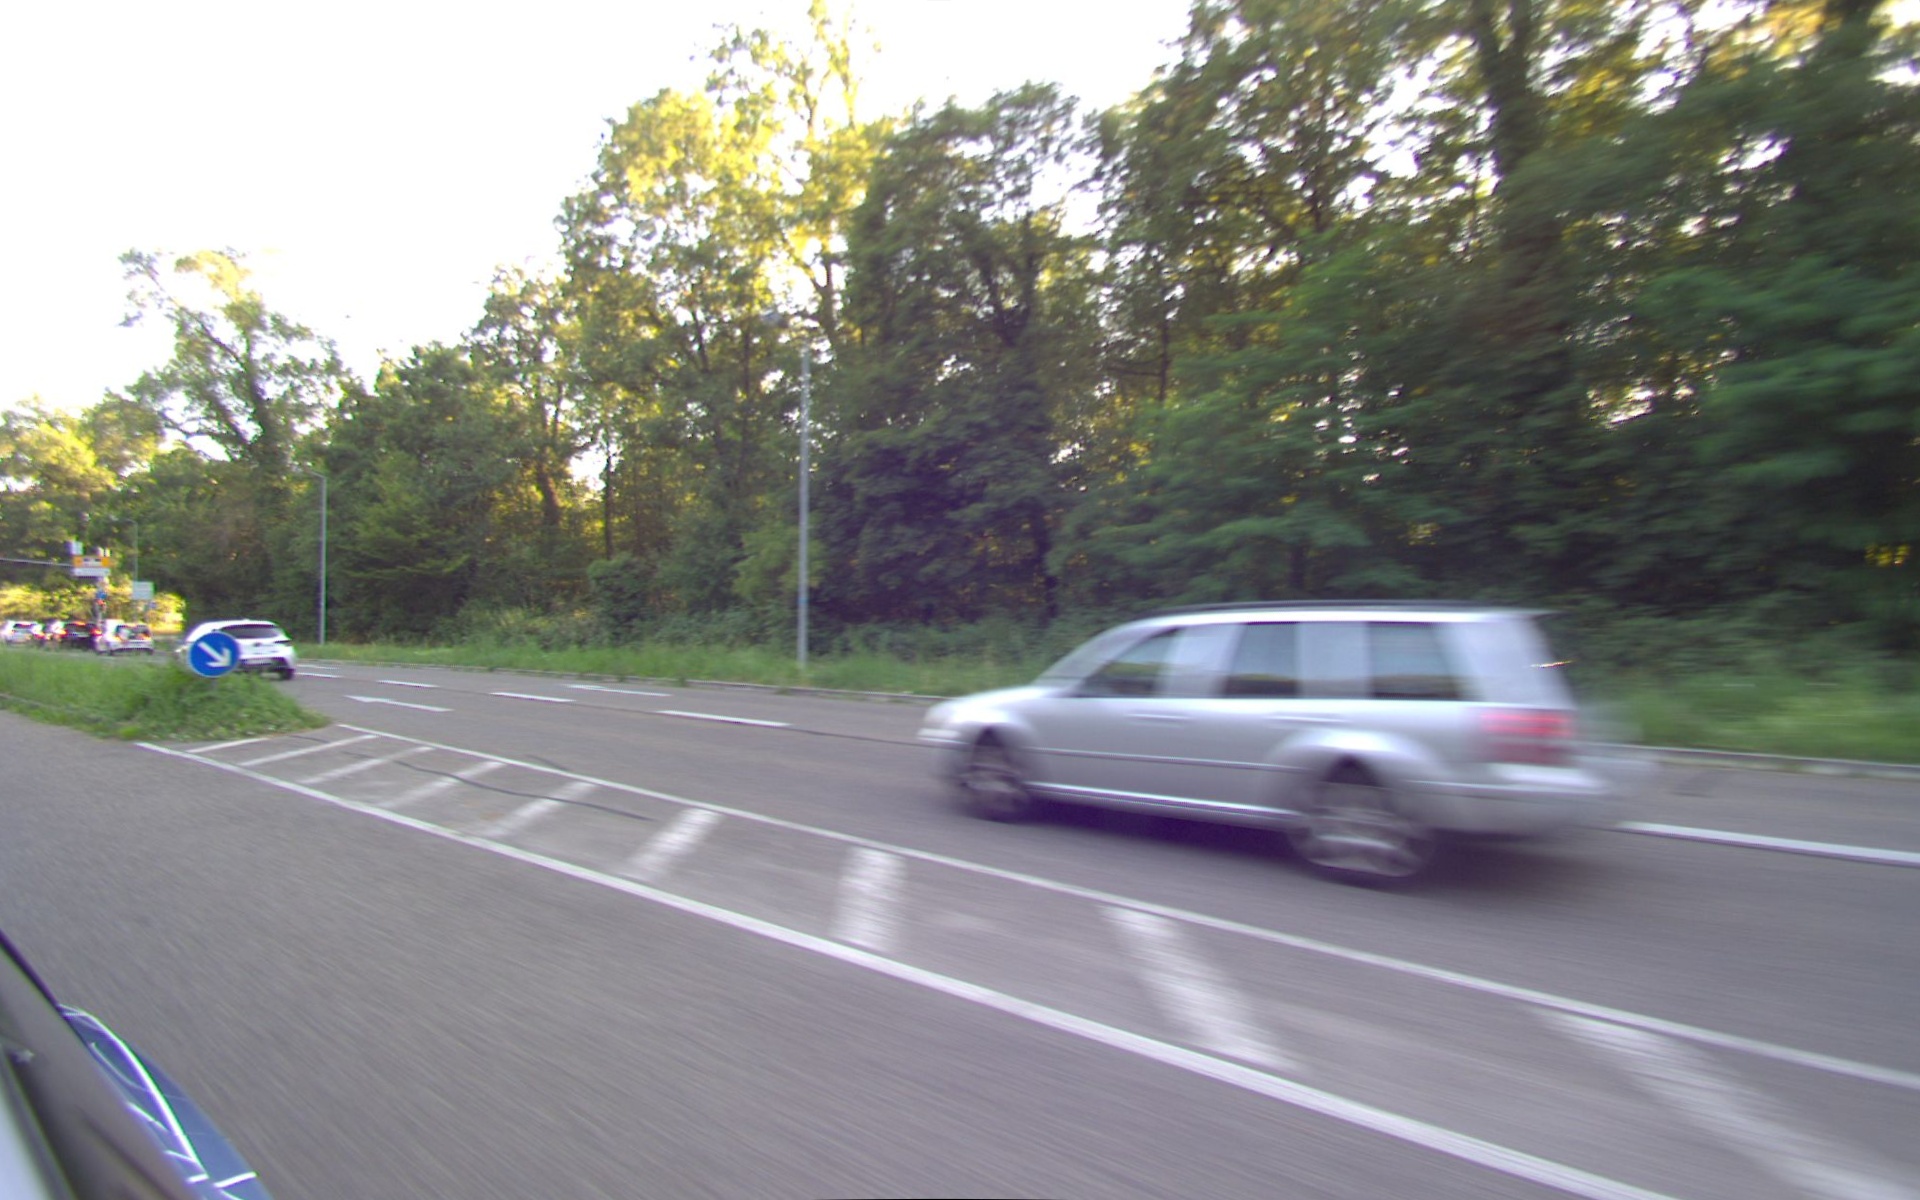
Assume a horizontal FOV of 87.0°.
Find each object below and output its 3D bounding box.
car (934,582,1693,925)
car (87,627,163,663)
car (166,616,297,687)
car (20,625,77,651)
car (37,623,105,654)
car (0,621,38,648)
[{"bbox_3d":[1.916,0.698,6.361,4.173,1.457,1.697,-2,-1,43],"label":"car"},{"bbox_3d":[-38.482,2.042,46.605,3.807,1.469,1.974,1,-1,39],"label":"car"},{"bbox_3d":[-17.867,1.205,24.763,3.937,1.518,1.816,1,-1,42],"label":"car"},{"bbox_3d":[-54.008,2.238,59.943,4.228,1.491,1.805,-1,-3,39],"label":"car"},{"bbox_3d":[-48.082,2.072,54.701,4.646,1.640,1.974,-1,-3,39],"label":"car"},{"bbox_3d":[-60.732,2.197,64.944,4.639,1.626,1.802,-1,-4,42],"label":"car"}]
